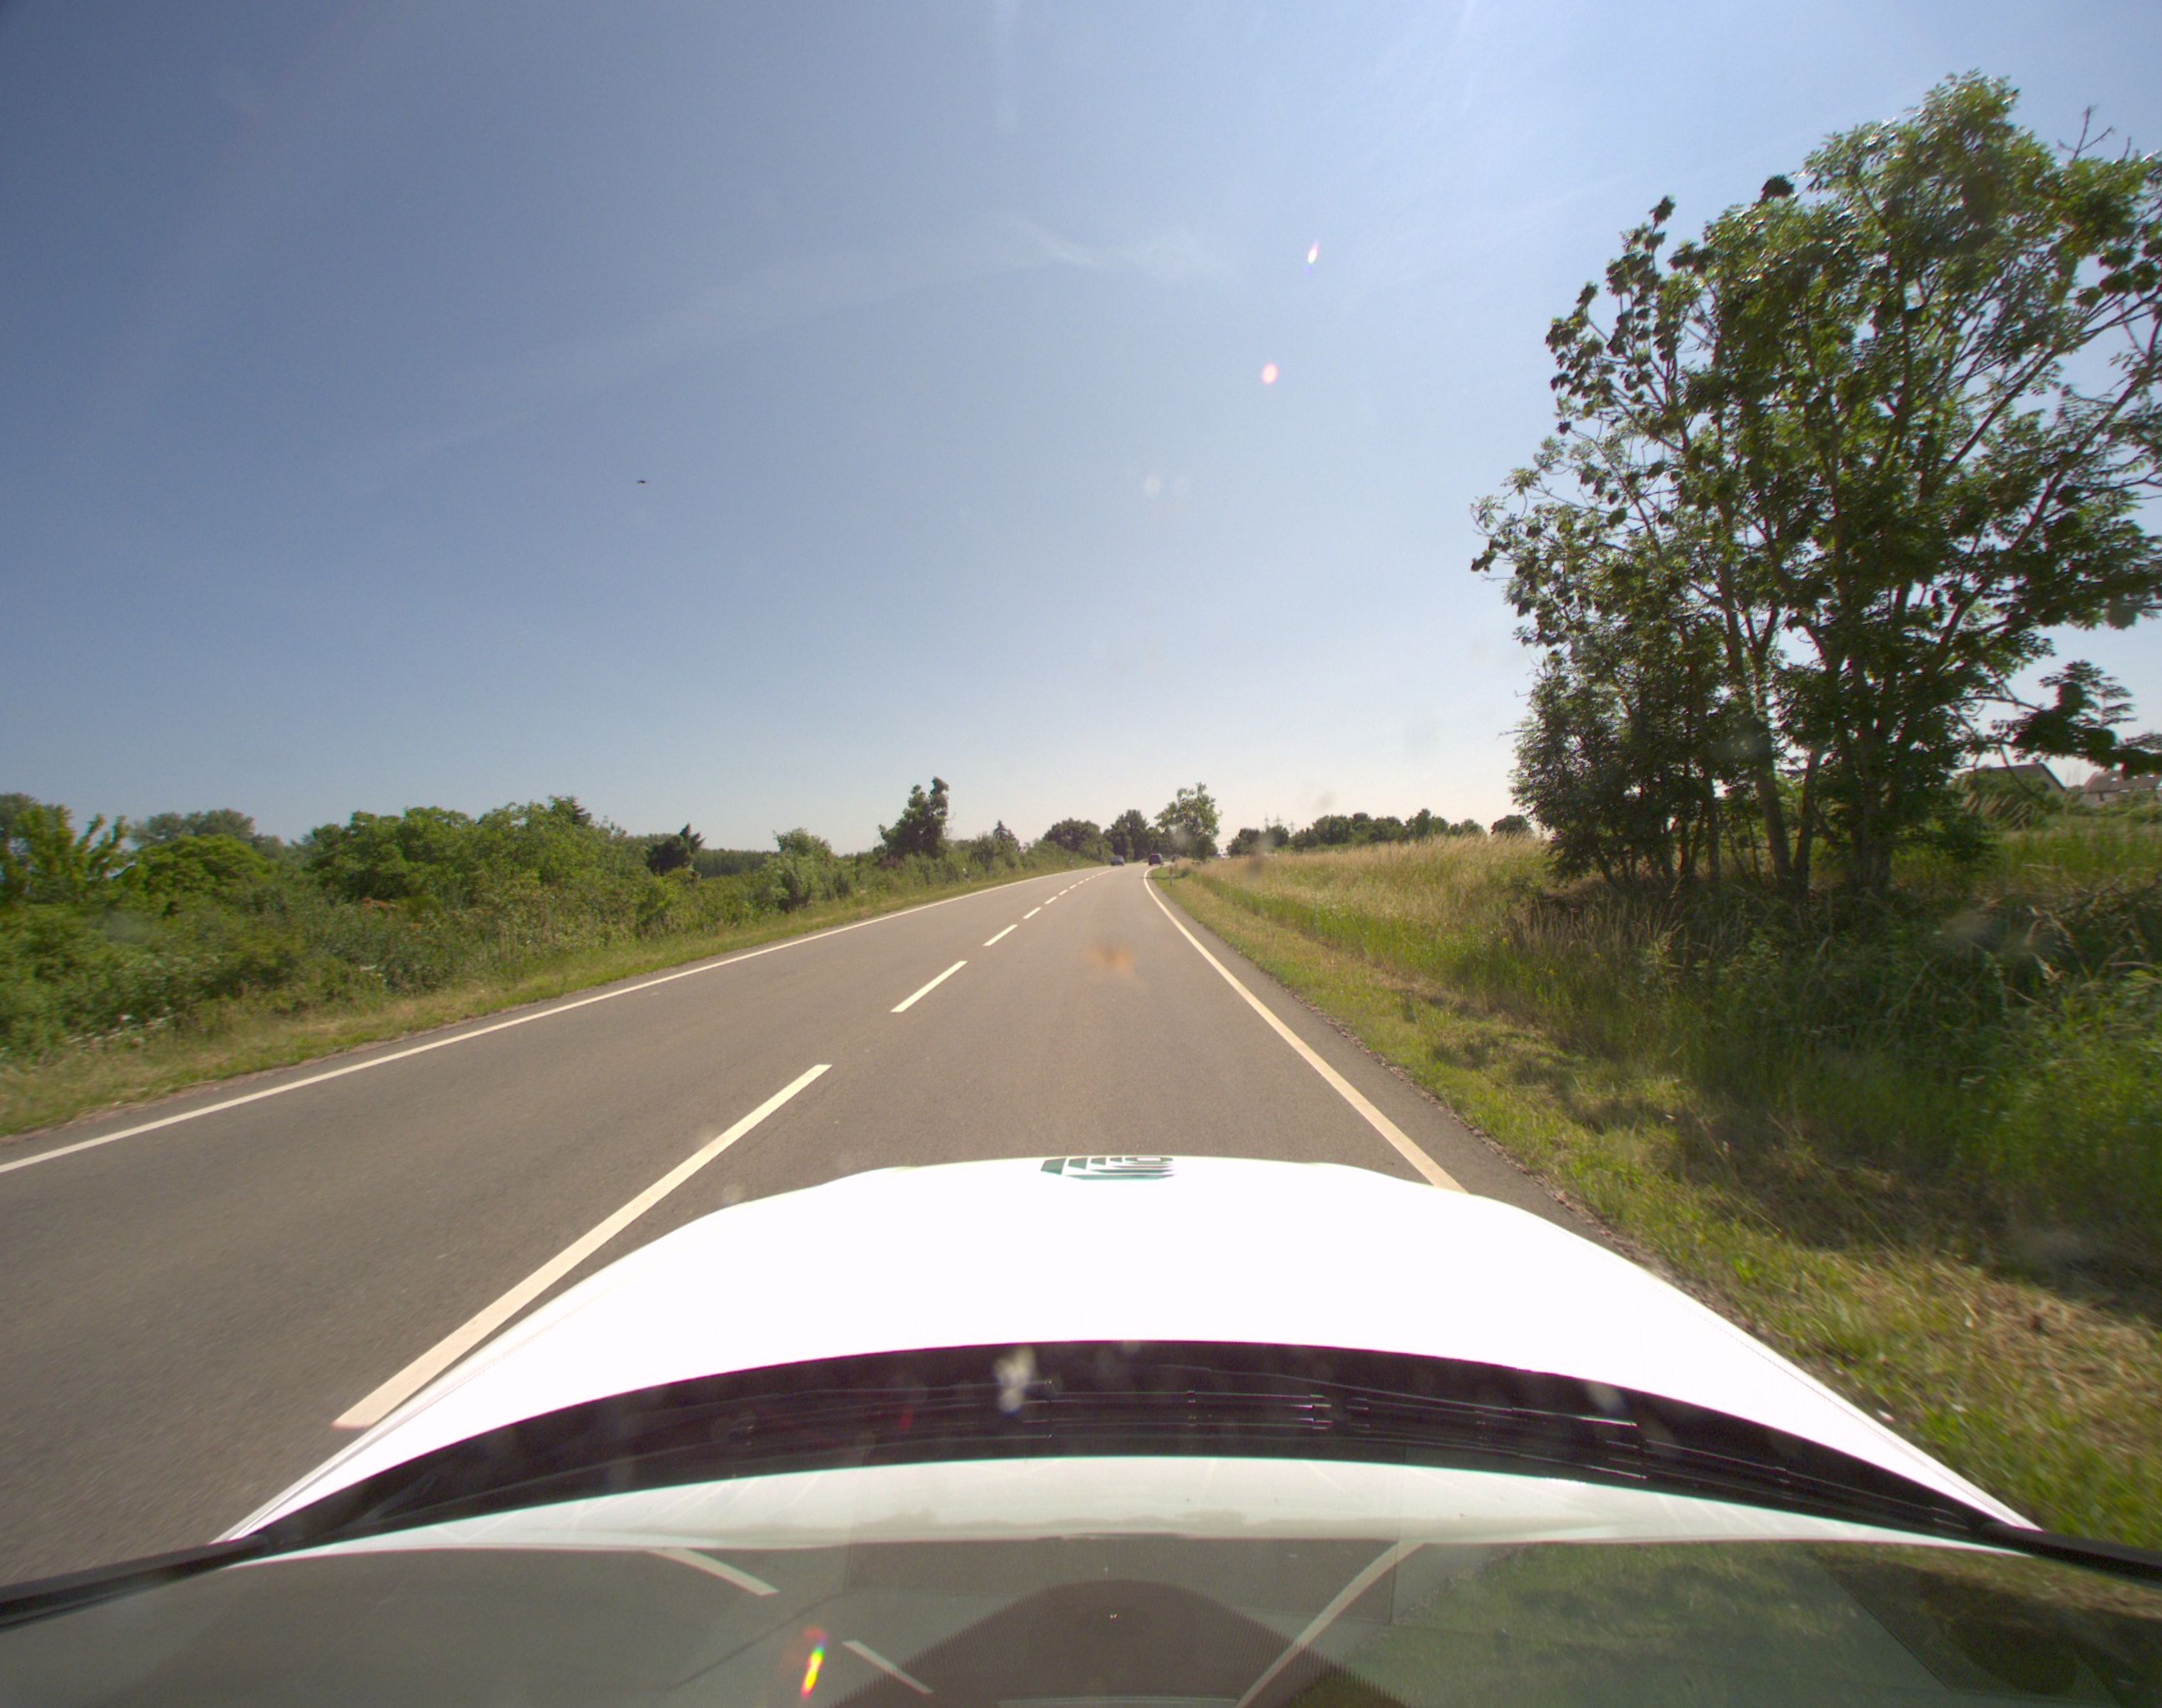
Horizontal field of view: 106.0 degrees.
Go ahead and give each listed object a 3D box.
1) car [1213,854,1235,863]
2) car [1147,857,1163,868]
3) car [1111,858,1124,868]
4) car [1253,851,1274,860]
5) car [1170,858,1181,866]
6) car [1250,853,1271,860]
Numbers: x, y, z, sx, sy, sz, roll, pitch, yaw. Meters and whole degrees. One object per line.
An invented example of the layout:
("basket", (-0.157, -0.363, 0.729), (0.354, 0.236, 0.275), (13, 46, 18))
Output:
("car", (28.152, 0.873, 160.575), (4.162, 1.623, 2.047), (-2, -1, -38))
("car", (10.601, 1.196, 116.995), (1.873, 1.518, 4.051), (-1, -1, 11))
("car", (5.209, 1.338, 116.603), (1.684, 1.362, 3.831), (-1, -1, 5))
("car", (37.499, 0.301, 167.580), (3.950, 1.623, 1.654), (-3, -1, 25))
("car", (17.646, 1.477, 151.947), (1.633, 1.341, 4.051), (-1, -1, 11))
("car", (39.696, 0.459, 179.941), (4.114, 1.418, 1.790), (-2, -1, 25))
